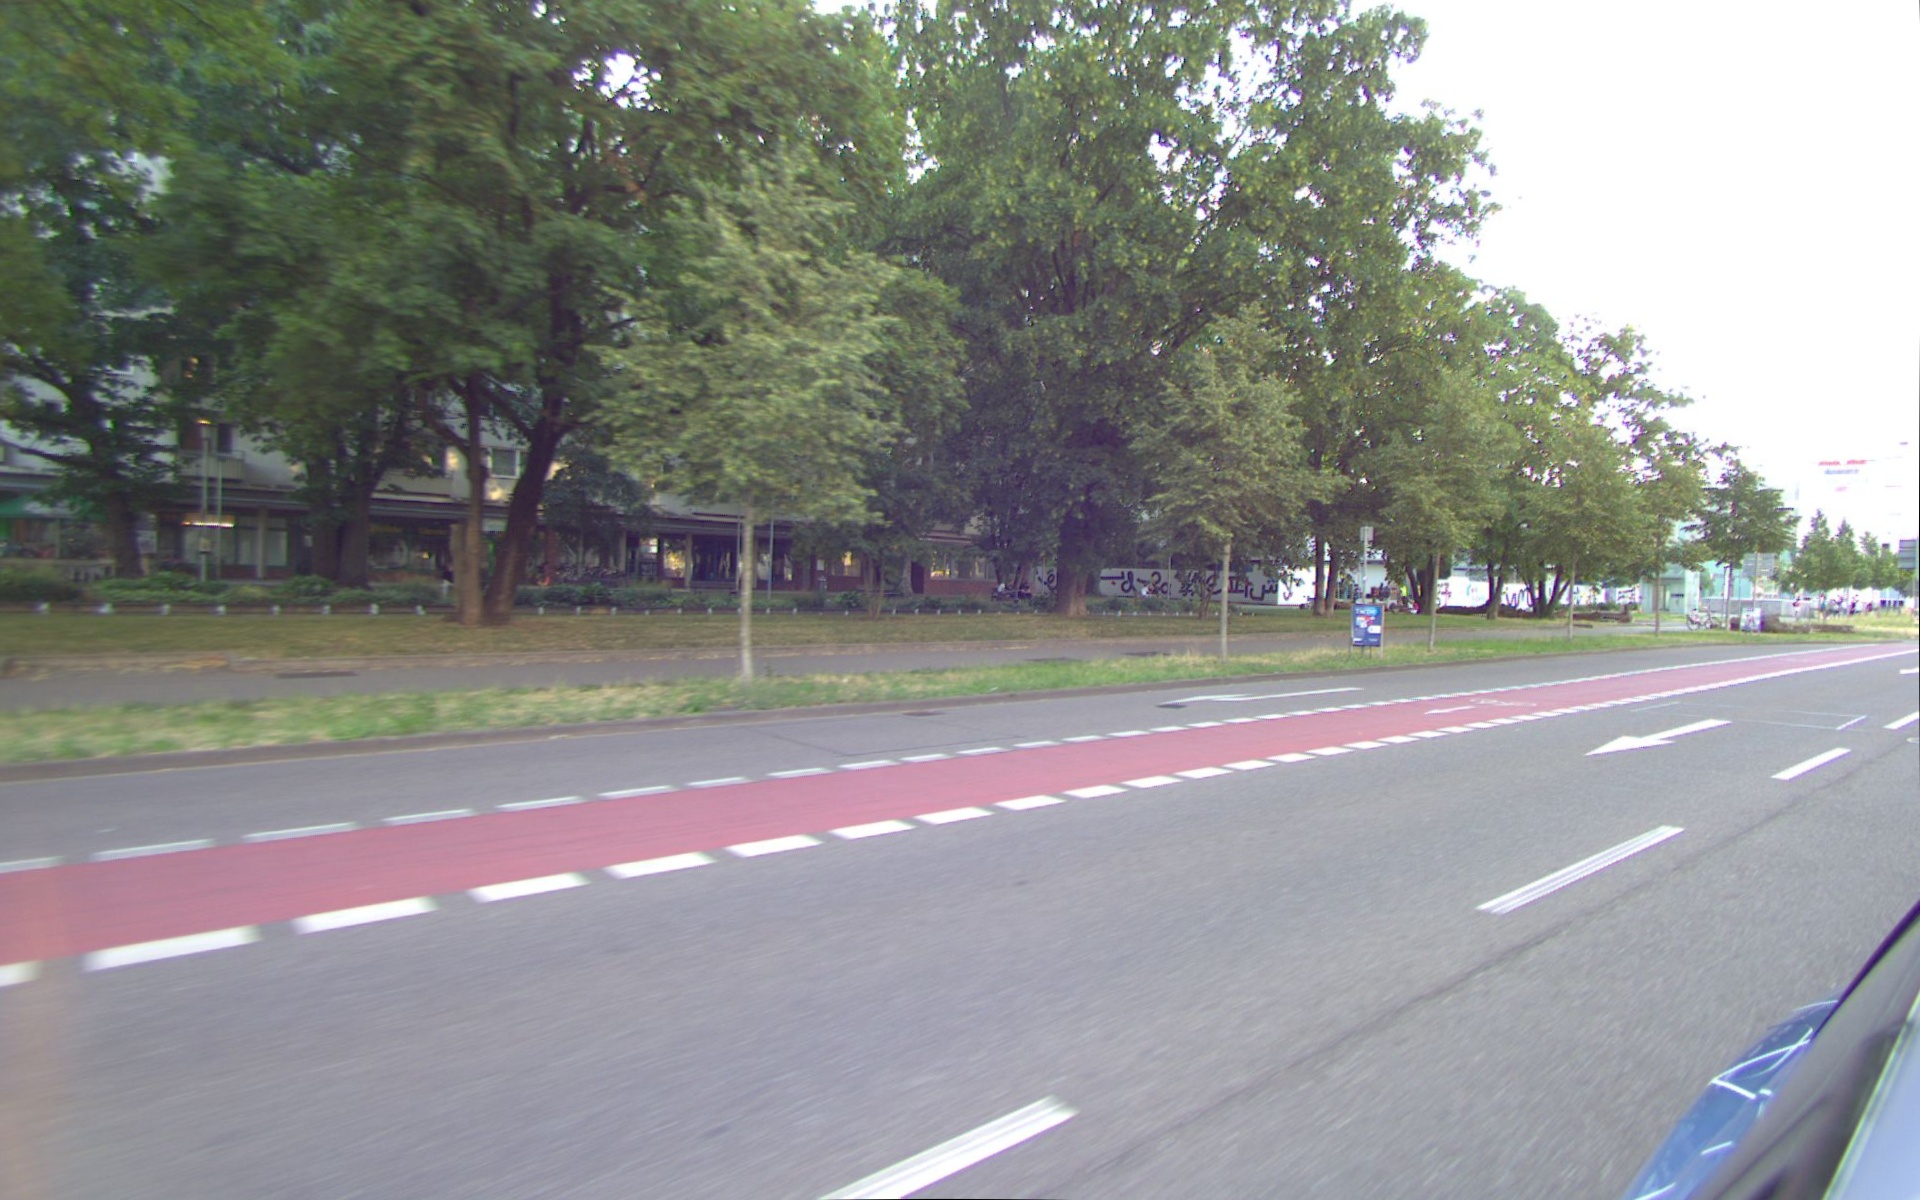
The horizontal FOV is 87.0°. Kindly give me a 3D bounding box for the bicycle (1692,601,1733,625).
[{"bbox_3d":[34.323,0.599,46.160,1.858,1.017,0.497,2,3,-20],"label":"bicycle"}]

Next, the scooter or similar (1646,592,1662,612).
[{"bbox_3d":[44.212,0.118,64.474,1.373,1.235,0.425,1,4,-39],"label":"scooter or similar"}]

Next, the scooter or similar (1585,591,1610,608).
[{"bbox_3d":[48.794,-0.044,77.474,0.466,1.236,1.572,0,0,-41],"label":"scooter or similar"}]

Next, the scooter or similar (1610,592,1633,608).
[{"bbox_3d":[54.531,0.005,83.434,0.466,1.236,1.572,0,0,-41],"label":"scooter or similar"}]

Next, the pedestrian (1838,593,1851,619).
[{"bbox_3d":[69.147,0.453,79.113,0.608,1.957,0.644,2,1,-37],"label":"pedestrian"}]

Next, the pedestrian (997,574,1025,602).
[{"bbox_3d":[2.423,-0.583,47.905,0.712,1.276,1.135,1,2,-37],"label":"pedestrian"}]

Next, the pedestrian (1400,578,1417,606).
[{"bbox_3d":[30.310,-0.523,68.395,0.587,1.843,0.771,1,1,-25],"label":"pedestrian"}]

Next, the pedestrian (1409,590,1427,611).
[{"bbox_3d":[20.247,0.001,44.763,0.674,0.895,0.618,2,1,27],"label":"pedestrian"}]

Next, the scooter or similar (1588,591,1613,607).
[{"bbox_3d":[49.363,-0.057,78.046,0.466,1.236,1.572,0,0,-41],"label":"scooter or similar"}]

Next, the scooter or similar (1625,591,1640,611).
[{"bbox_3d":[43.414,0.080,65.332,0.473,1.235,1.550,6,4,43],"label":"scooter or similar"}]

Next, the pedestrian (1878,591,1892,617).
[{"bbox_3d":[70.628,0.278,77.298,0.608,1.957,0.644,1,1,-40],"label":"pedestrian"}]

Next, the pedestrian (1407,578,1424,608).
[{"bbox_3d":[30.008,-0.492,66.715,0.587,1.943,0.771,1,1,-25],"label":"pedestrian"}]

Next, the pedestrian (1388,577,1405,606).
[{"bbox_3d":[29.569,-0.580,68.584,0.587,1.879,0.771,1,1,-25],"label":"pedestrian"}]

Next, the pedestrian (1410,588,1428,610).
[{"bbox_3d":[20.027,-0.052,44.191,0.674,0.895,0.588,2,1,26],"label":"pedestrian"}]

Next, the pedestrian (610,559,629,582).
[{"bbox_3d":[-17.984,-1.569,53.386,0.687,1.178,0.788,1,2,-40],"label":"pedestrian"}]

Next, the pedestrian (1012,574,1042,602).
[{"bbox_3d":[3.199,-0.564,48.430,0.888,1.276,1.135,1,2,-37],"label":"pedestrian"}]
